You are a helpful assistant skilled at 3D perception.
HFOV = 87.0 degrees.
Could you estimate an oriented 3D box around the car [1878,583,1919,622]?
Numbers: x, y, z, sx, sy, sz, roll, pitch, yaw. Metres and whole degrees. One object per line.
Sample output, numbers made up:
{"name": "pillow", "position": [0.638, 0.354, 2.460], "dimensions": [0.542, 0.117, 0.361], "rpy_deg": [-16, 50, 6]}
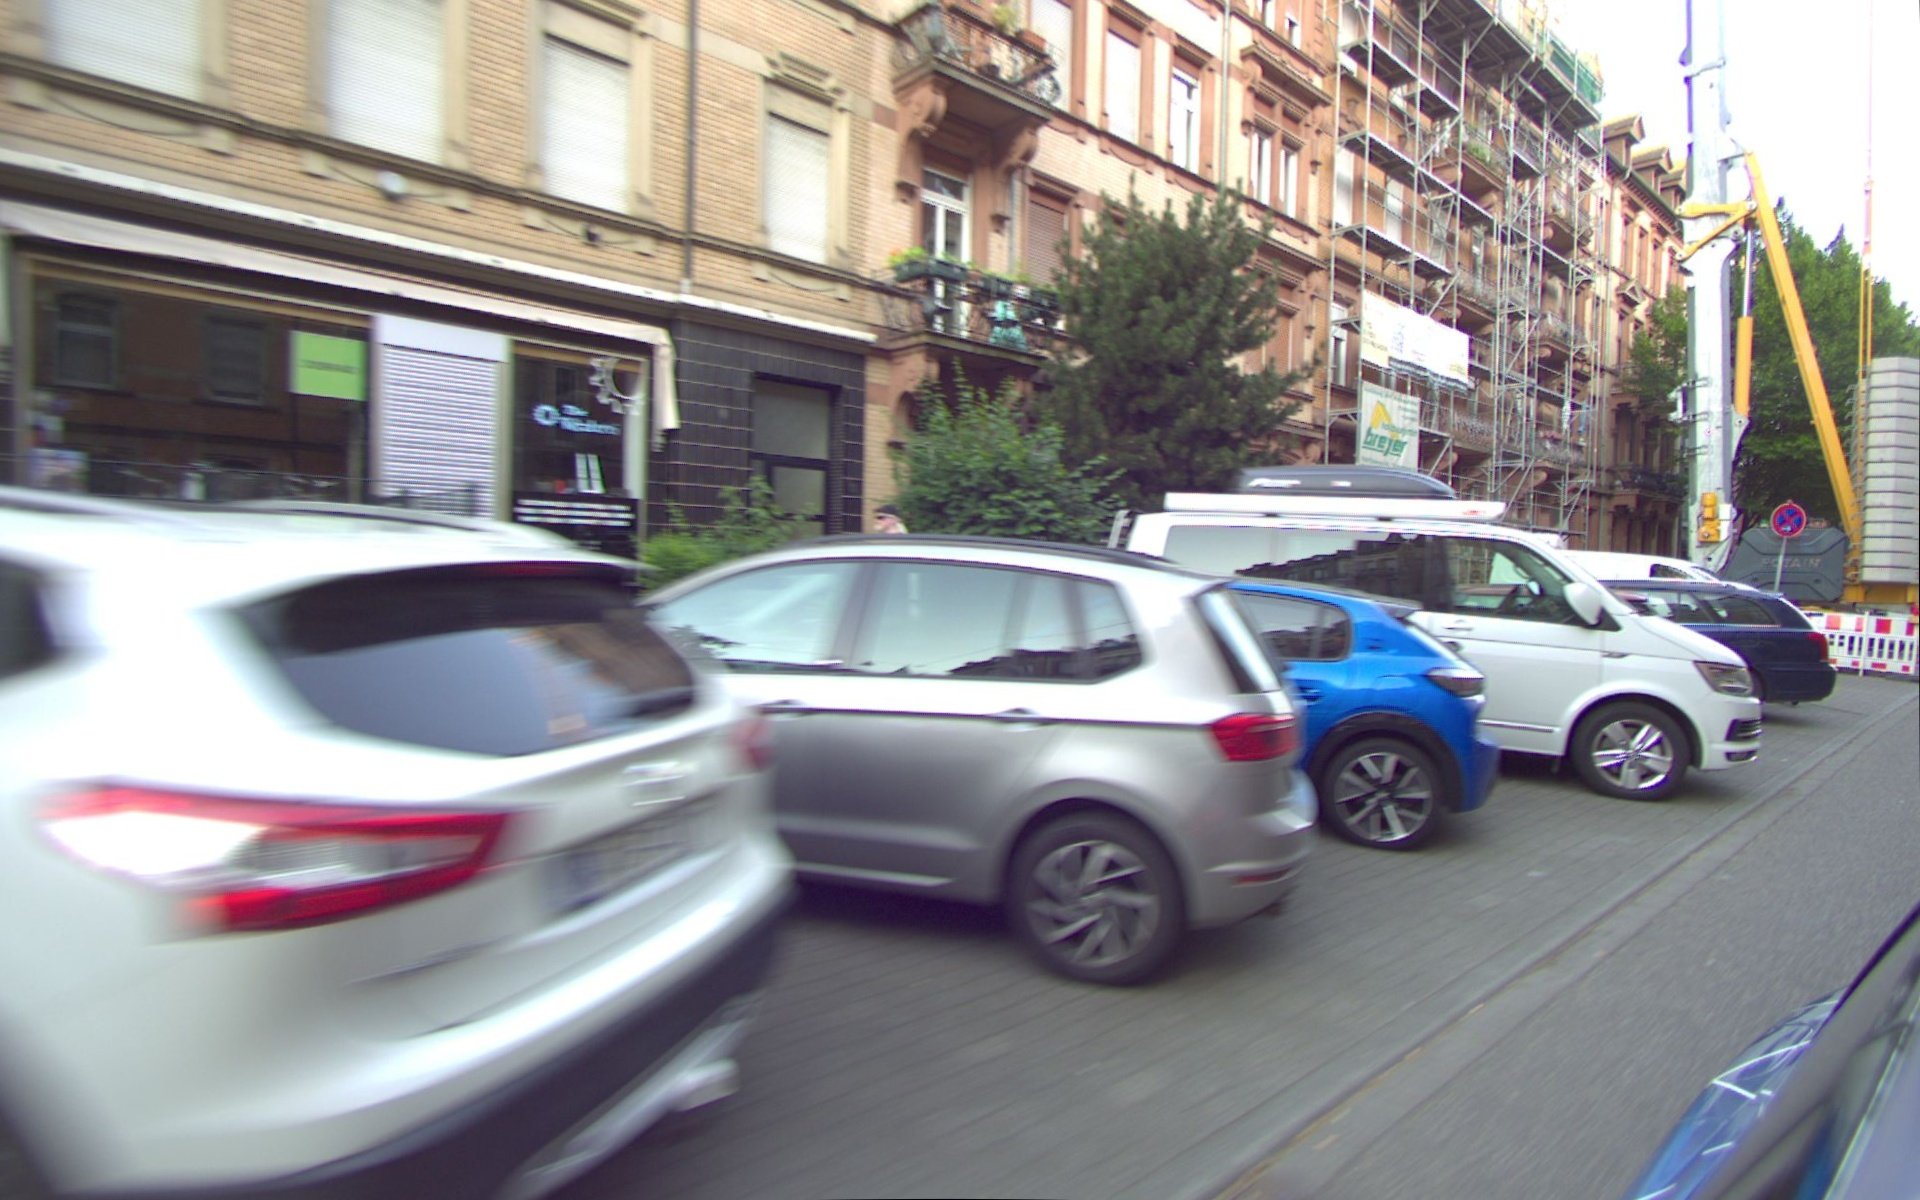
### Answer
{"name": "car", "position": [43.076, 0.203, 44.360], "dimensions": [3.800, 1.584, 1.662], "rpy_deg": [5, 4, 28]}

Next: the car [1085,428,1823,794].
{"name": "car", "position": [3.717, -0.056, 8.506], "dimensions": [4.885, 2.391, 1.984], "rpy_deg": [3, 2, 24]}

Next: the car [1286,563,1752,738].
{"name": "car", "position": [5.408, 0.399, 10.388], "dimensions": [3.814, 1.425, 1.750], "rpy_deg": [3, 3, 17]}

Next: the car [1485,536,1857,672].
{"name": "car", "position": [12.761, -0.043, 18.522], "dimensions": [1.866, 1.979, 5.184], "rpy_deg": [2, 3, -41]}

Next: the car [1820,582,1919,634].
{"name": "car", "position": [30.713, 0.306, 32.590], "dimensions": [4.108, 1.506, 1.824], "rpy_deg": [4, 3, 13]}

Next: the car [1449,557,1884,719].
{"name": "car", "position": [7.971, 0.338, 11.924], "dimensions": [3.825, 1.535, 1.833], "rpy_deg": [3, 2, 24]}

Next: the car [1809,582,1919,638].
{"name": "car", "position": [28.548, 0.331, 30.609], "dimensions": [3.939, 1.506, 1.677], "rpy_deg": [4, 3, 15]}

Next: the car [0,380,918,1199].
{"name": "car", "position": [-2.359, 0.348, 2.818], "dimensions": [4.057, 1.609, 1.808], "rpy_deg": [5, 3, 19]}

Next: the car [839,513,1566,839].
{"name": "car", "position": [1.461, 0.308, 6.795], "dimensions": [4.116, 1.610, 1.873], "rpy_deg": [3, 2, 21]}

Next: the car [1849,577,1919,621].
{"name": "car", "position": [36.583, 0.017, 38.465], "dimensions": [3.749, 1.535, 1.642], "rpy_deg": [4, 3, 17]}

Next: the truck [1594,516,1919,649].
{"name": "truck", "position": [21.093, -0.476, 27.123], "dimensions": [2.478, 3.115, 6.498], "rpy_deg": [-1, 1, -37]}

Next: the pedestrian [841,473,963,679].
{"name": "pedestrian", "position": [-0.531, -0.237, 9.252], "dimensions": [0.685, 1.770, 0.813], "rpy_deg": [6, 5, 44]}

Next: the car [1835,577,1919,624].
{"name": "car", "position": [34.269, 0.059, 36.548], "dimensions": [3.590, 1.535, 1.613], "rpy_deg": [4, 3, 22]}

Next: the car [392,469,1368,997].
{"name": "car", "position": [-0.367, 0.339, 4.904], "dimensions": [4.114, 1.610, 1.875], "rpy_deg": [5, 2, 19]}

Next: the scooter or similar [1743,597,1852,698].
{"name": "scooter or similar", "position": [10.739, 0.573, 13.035], "dimensions": [0.650, 1.164, 1.472], "rpy_deg": [4, 2, 24]}

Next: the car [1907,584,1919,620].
{"name": "car", "position": [45.523, 0.226, 45.525], "dimensions": [3.787, 1.584, 1.668], "rpy_deg": [4, 4, 20]}
